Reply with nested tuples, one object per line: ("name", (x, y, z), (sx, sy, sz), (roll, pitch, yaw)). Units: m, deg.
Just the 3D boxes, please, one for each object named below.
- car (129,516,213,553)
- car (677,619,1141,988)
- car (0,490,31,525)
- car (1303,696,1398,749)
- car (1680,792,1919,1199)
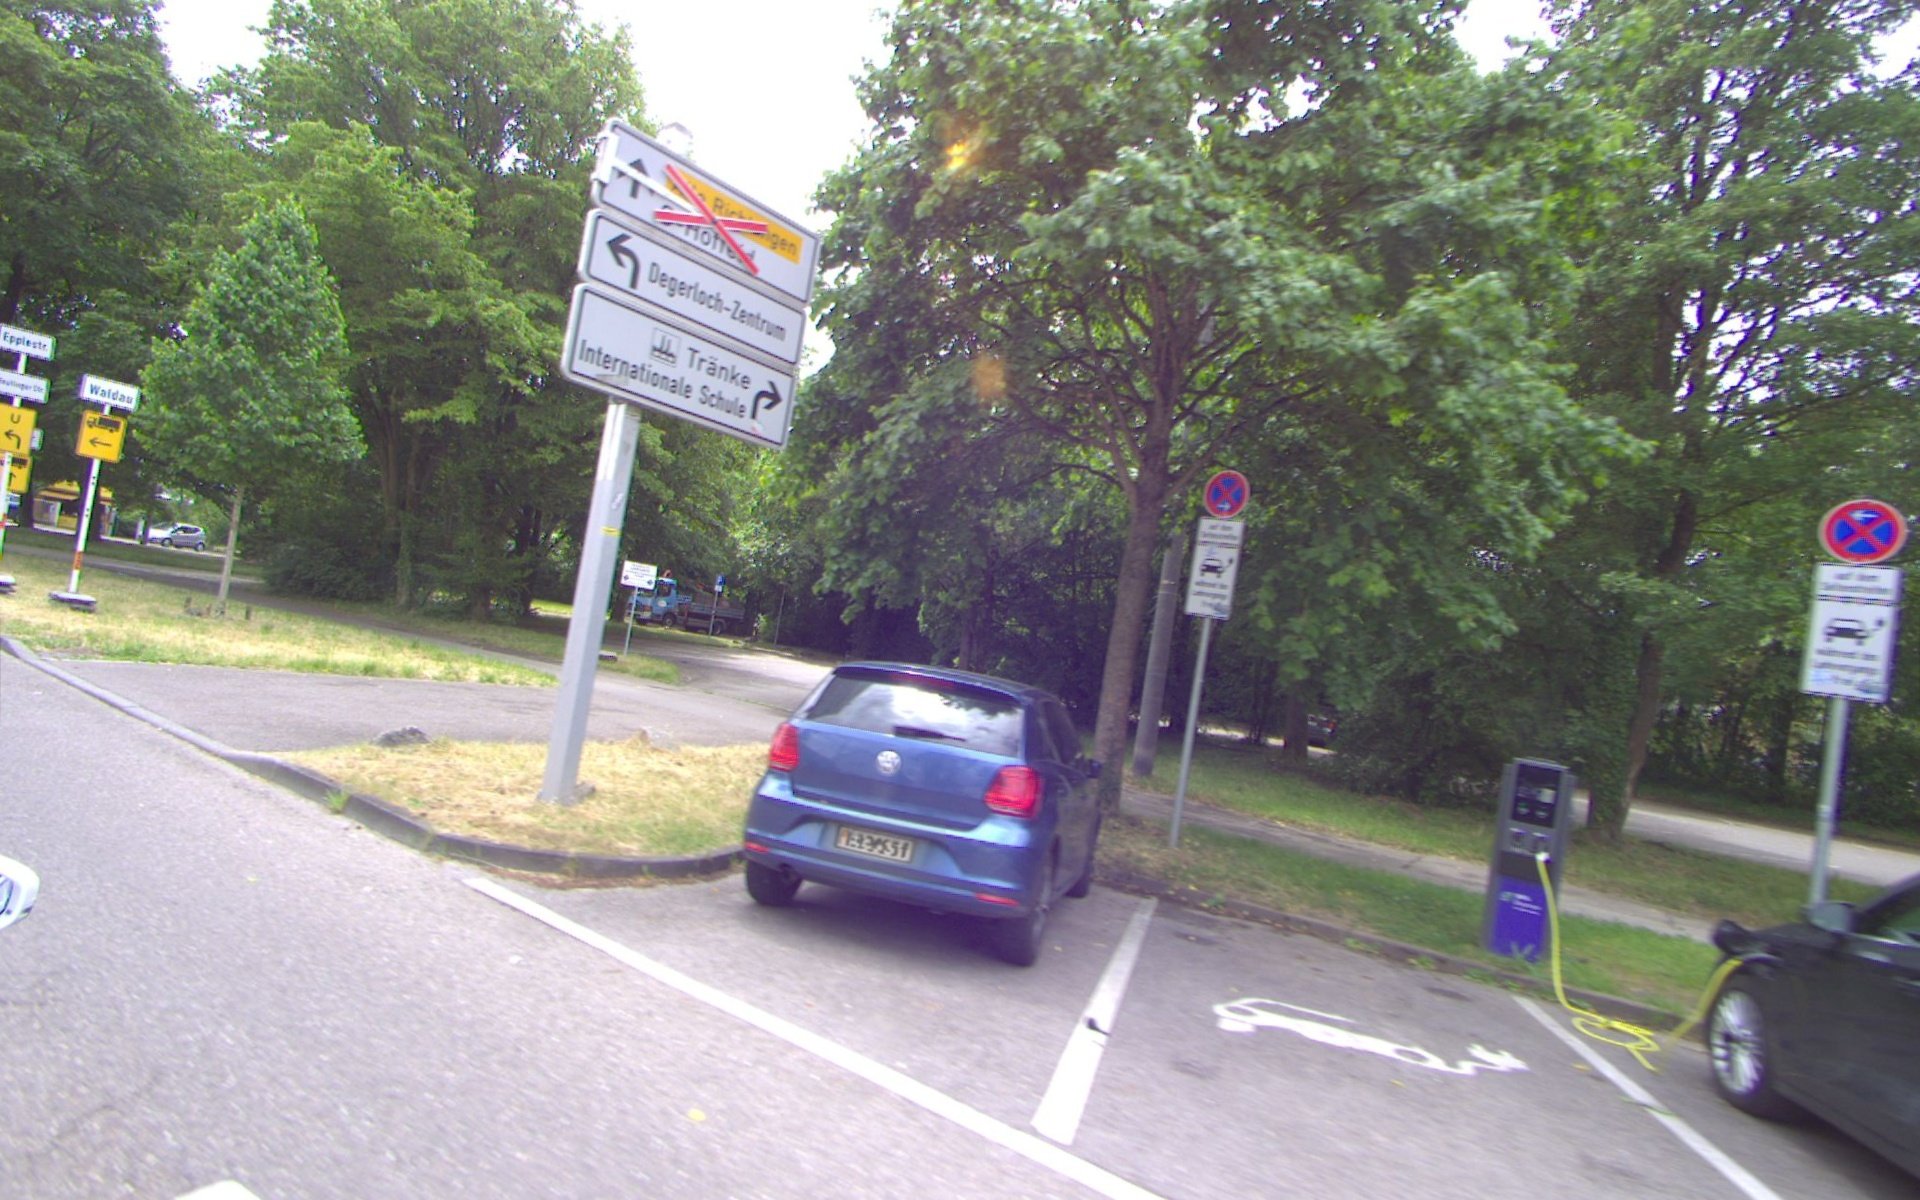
("car", (-48.650, -3.987, 62.110), (1.962, 1.547, 3.479), (8, -3, 10))
("car", (0.045, 1.191, 6.593), (1.713, 1.438, 3.844), (7, -6, 17))
("car", (-53.013, -5.289, 54.081), (1.962, 1.665, 3.865), (8, -3, 15))
("car", (13.855, 4.343, 35.556), (1.775, 1.425, 3.986), (5, -4, 42))
("car", (4.166, 1.554, 3.252), (1.796, 1.439, 3.898), (7, -6, 19))
